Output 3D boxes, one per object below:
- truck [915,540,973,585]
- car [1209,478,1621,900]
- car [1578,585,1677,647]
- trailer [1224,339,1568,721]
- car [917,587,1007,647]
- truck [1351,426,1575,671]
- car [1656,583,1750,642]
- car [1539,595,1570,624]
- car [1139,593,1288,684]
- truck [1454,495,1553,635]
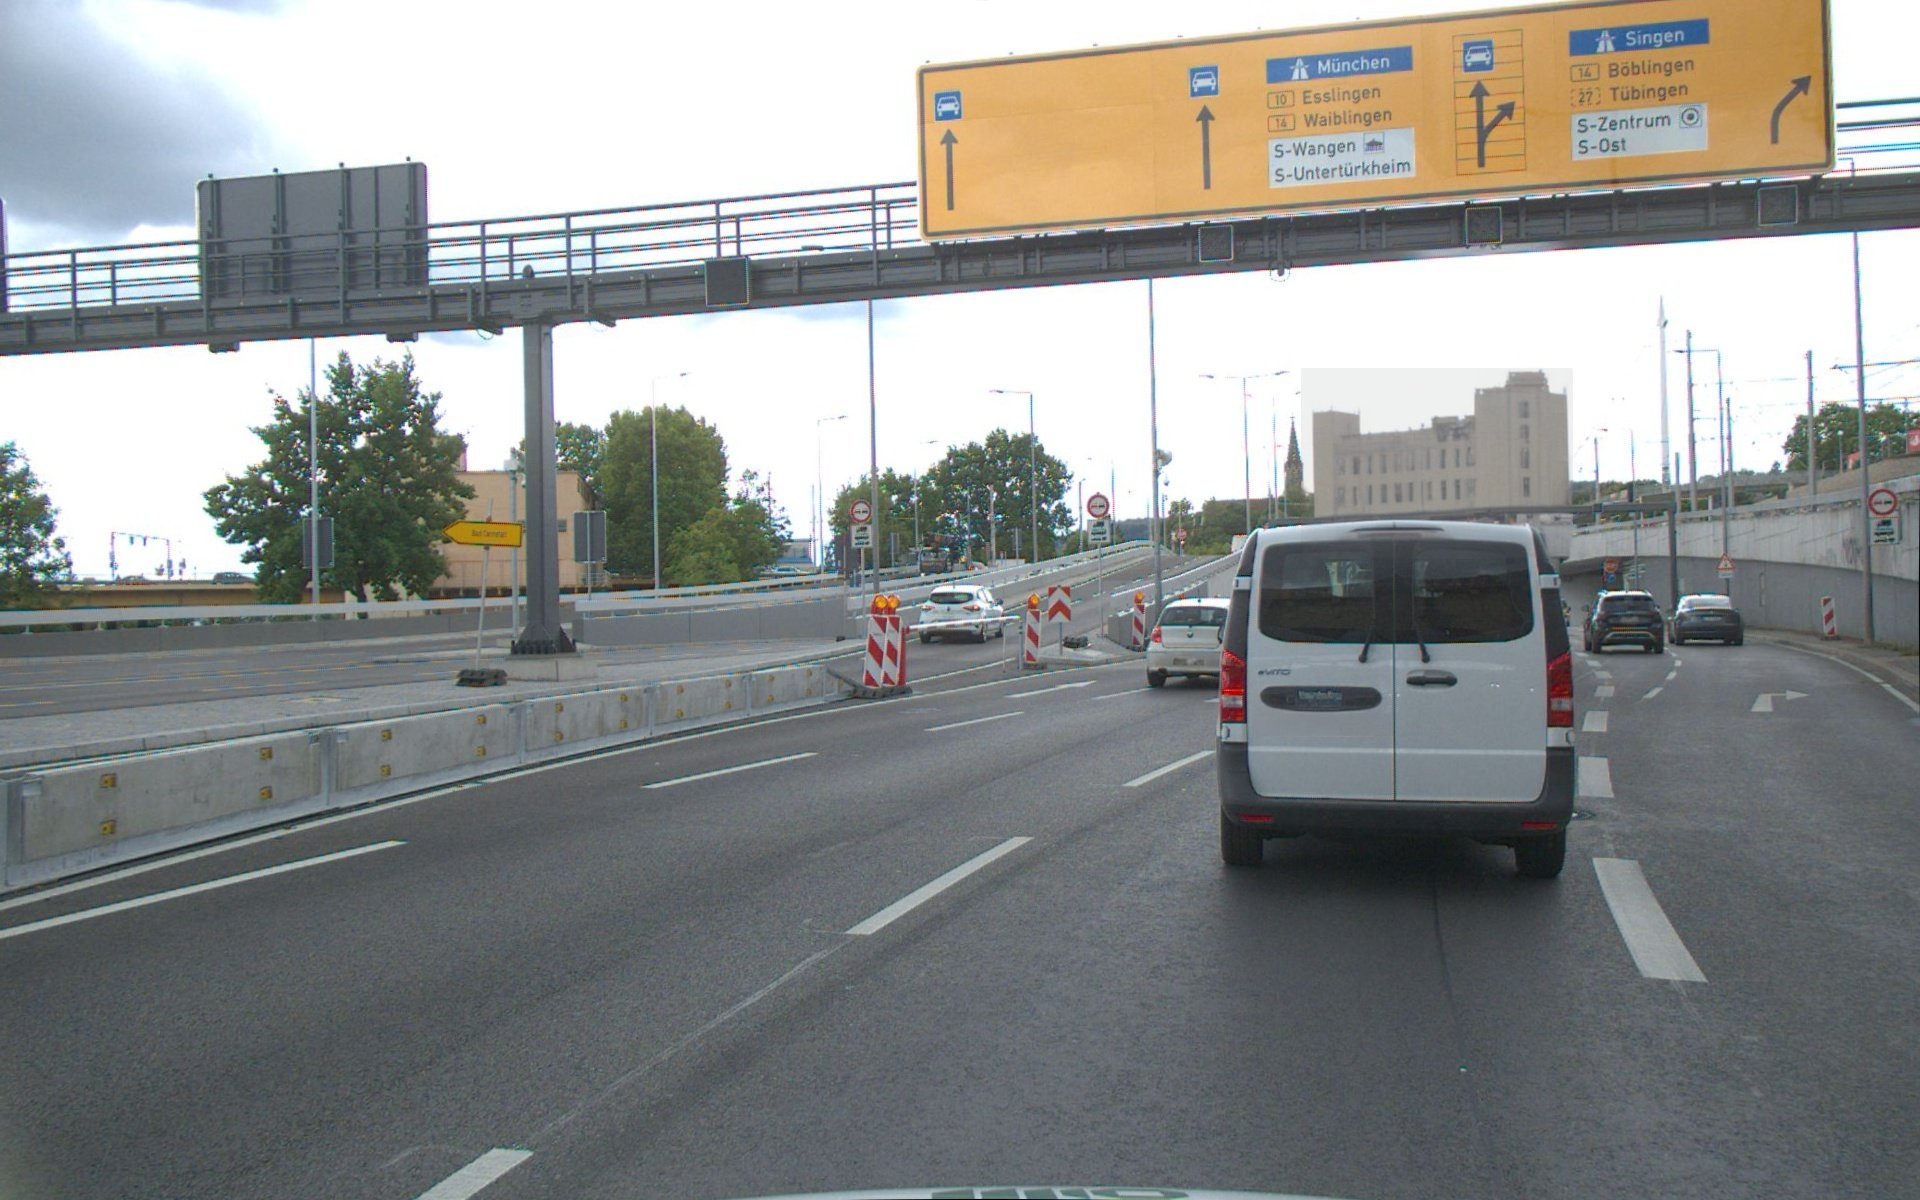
[{"bbox_3d":[-1.208,-3.134,133.845,2.674,3.448,10.631,1,2,10],"label":"truck"},{"bbox_3d":[2.672,0.444,10.678,1.951,2.025,5.204,0,0,10],"label":"car"},{"bbox_3d":[17.368,0.455,43.219,1.852,1.547,4.003,0,-2,14],"label":"car"},{"bbox_3d":[6.806,-0.747,24.056,3.648,4.214,10.983,0,0,21],"label":"trailer"},{"bbox_3d":[0.096,0.449,43.400,1.706,1.457,3.778,2,0,10],"label":"car"},{"bbox_3d":[10.738,-0.859,34.329,3.648,4.214,10.983,0,0,21],"label":"truck"},{"bbox_3d":[21.905,0.371,48.920,1.852,1.655,4.003,0,-1,14],"label":"car"},{"bbox_3d":[39.994,0.665,111.327,1.952,1.881,4.001,0,-1,20],"label":"car"},{"bbox_3d":[4.426,0.626,28.374,1.681,1.422,4.348,1,0,20],"label":"car"},{"bbox_3d":[20.637,-1.185,63.291,2.999,4.887,9.163,2,0,15],"label":"truck"}]
